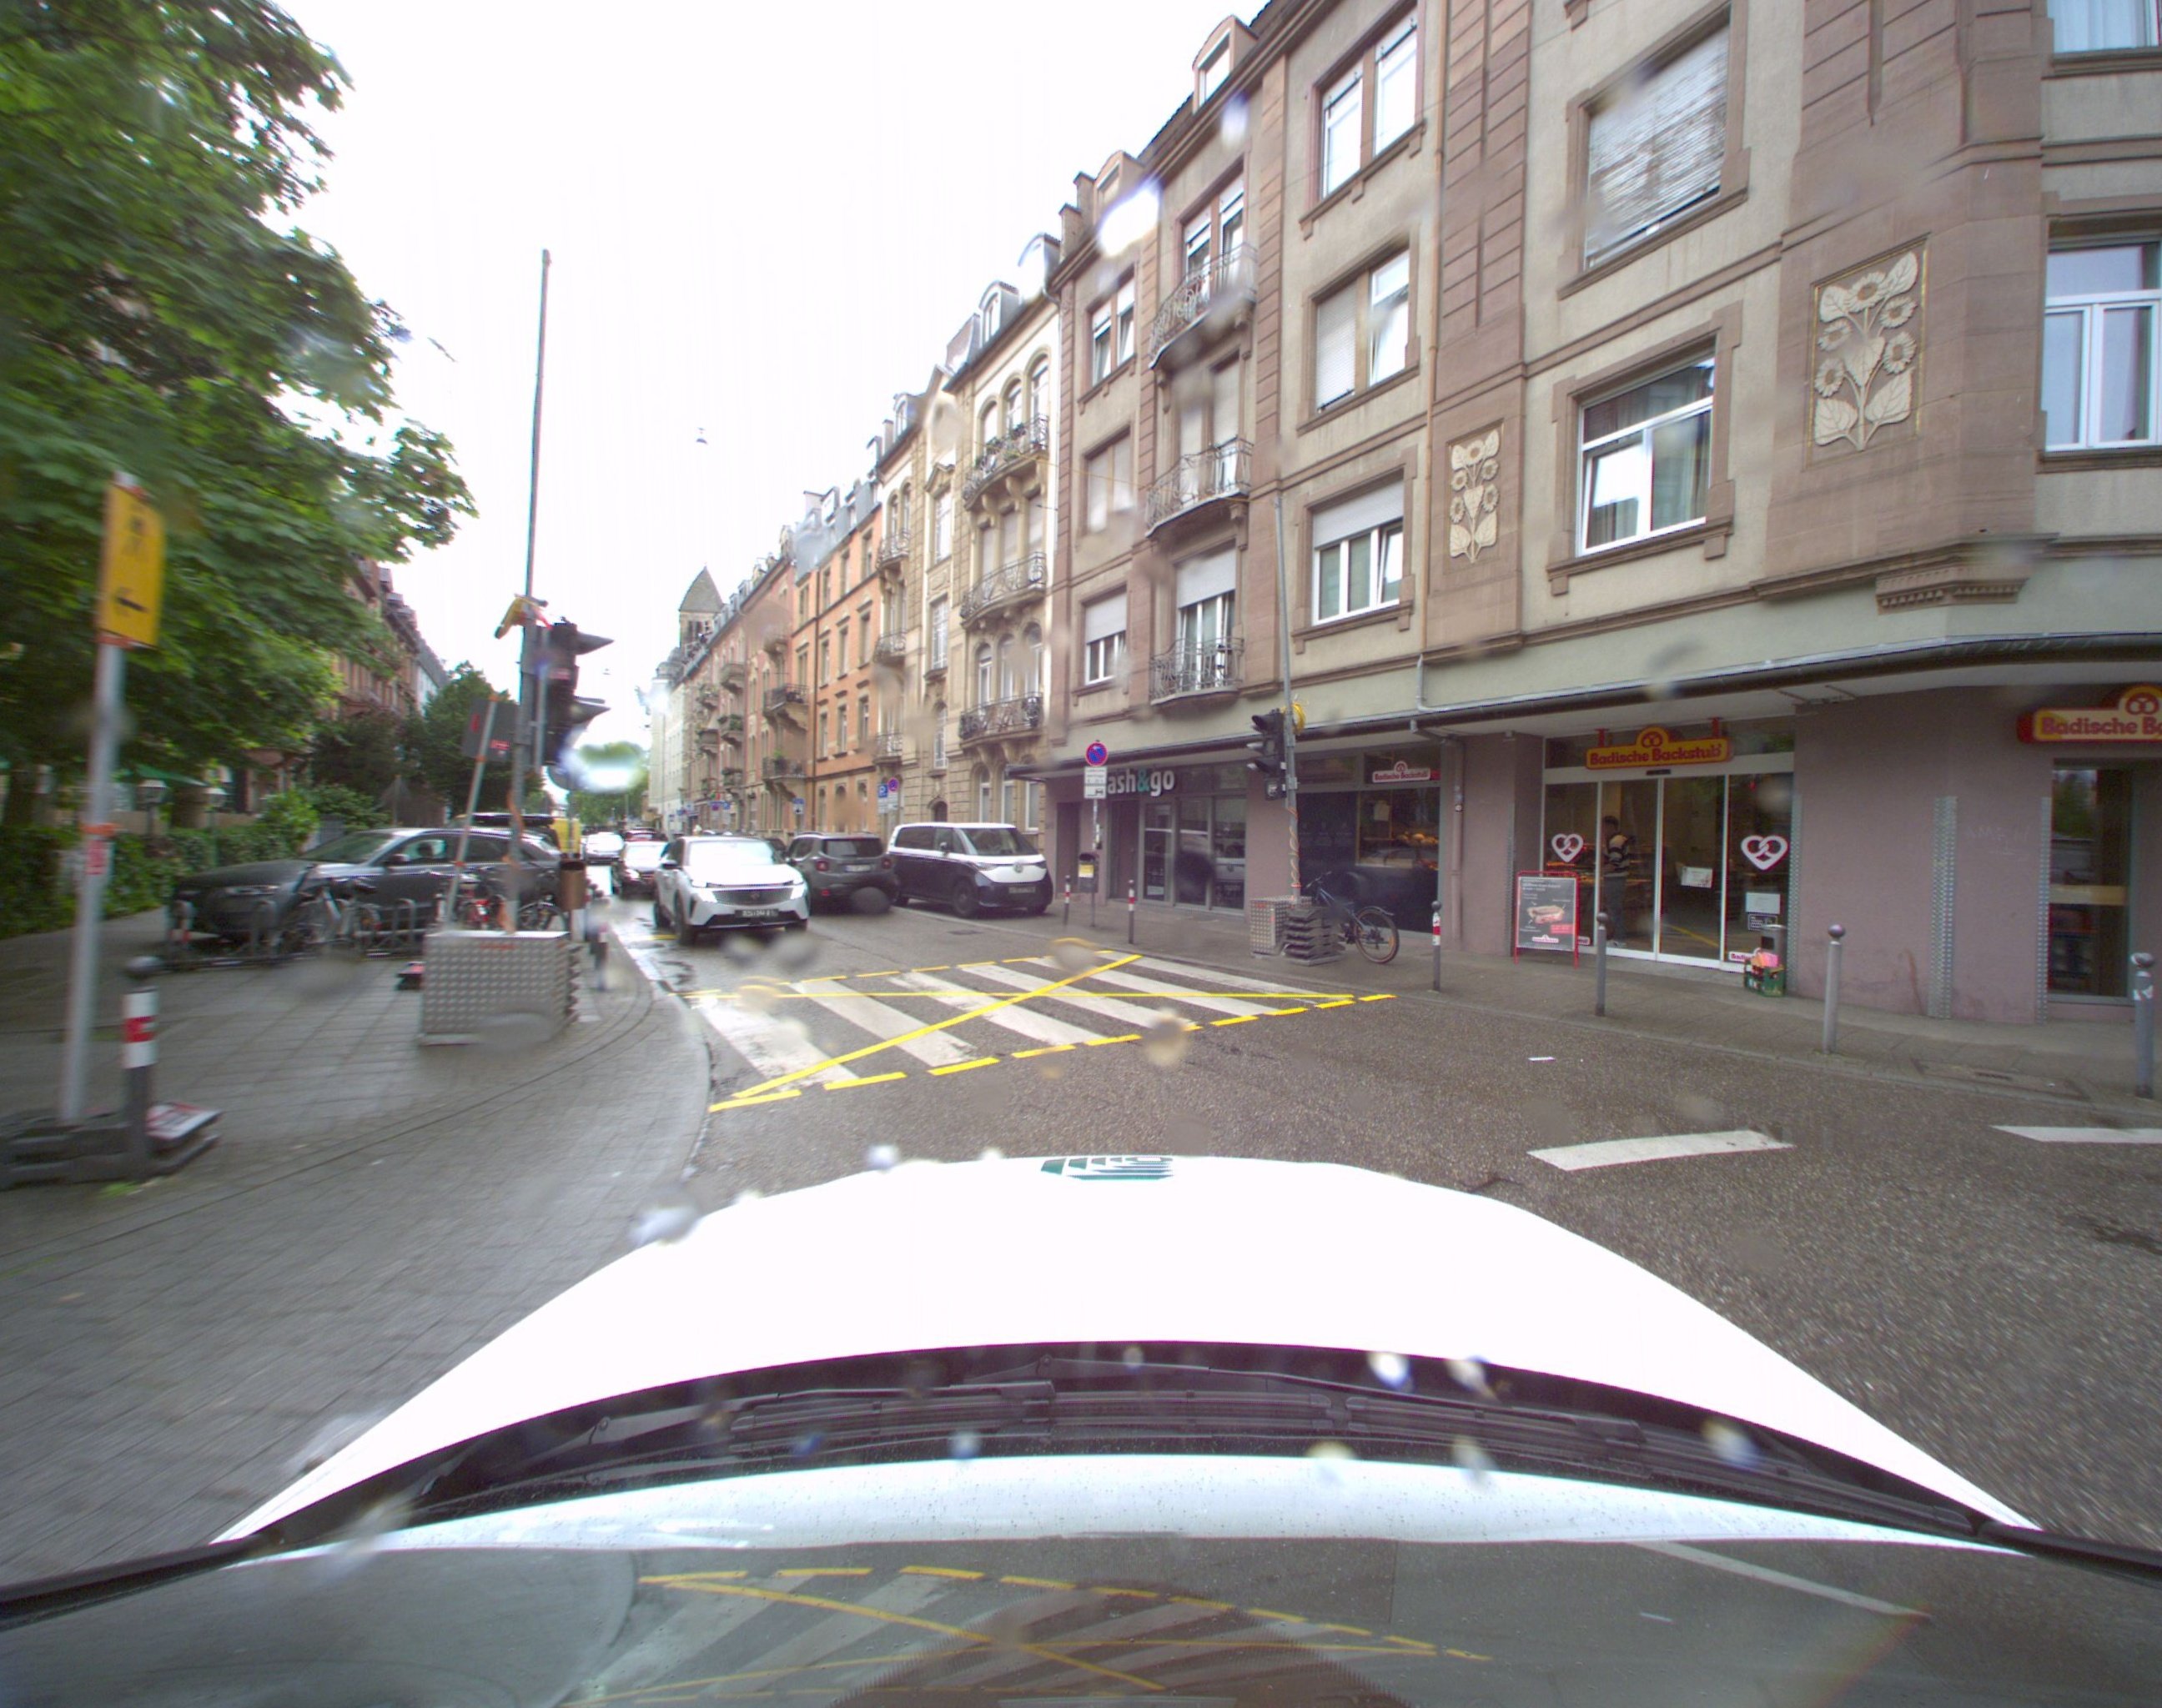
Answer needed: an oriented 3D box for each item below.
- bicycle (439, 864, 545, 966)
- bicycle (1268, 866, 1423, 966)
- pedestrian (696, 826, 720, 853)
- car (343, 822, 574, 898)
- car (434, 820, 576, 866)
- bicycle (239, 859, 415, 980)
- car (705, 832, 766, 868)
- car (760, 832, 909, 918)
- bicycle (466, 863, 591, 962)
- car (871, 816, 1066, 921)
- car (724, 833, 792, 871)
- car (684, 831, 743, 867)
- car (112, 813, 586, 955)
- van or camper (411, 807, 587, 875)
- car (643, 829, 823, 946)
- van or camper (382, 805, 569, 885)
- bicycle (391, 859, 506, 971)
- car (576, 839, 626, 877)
[{"bbox_3d":[-7.255,0.710,10.009,1.661,1.143,0.402,1,0,31],"label":"bicycle"},{"bbox_3d":[3.448,0.763,10.778,0.628,1.128,1.917,0,1,-37],"label":"bicycle"},{"bbox_3d":[-25.295,-0.989,55.226,0.676,0.811,1.932,0,39,2],"label":"pedestrian"},{"bbox_3d":[-15.230,0.199,20.227,1.780,1.662,4.158,2,-2,20],"label":"car"},{"bbox_3d":[-27.831,-0.517,39.553,1.846,2.078,5.286,1,0,32],"label":"car"},{"bbox_3d":[-8.115,0.645,8.748,1.907,1.143,0.781,1,0,28],"label":"bicycle"},{"bbox_3d":[-16.249,-0.217,38.200,1.885,1.561,4.301,-1,2,-33],"label":"car"},{"bbox_3d":[-5.615,0.345,18.147,1.913,1.670,4.458,-1,1,-35],"label":"car"},{"bbox_3d":[-7.109,0.713,10.458,1.661,1.143,0.591,1,0,28],"label":"bicycle"},{"bbox_3d":[-2.634,0.201,17.813,2.009,1.938,5.173,-2,2,-36],"label":"car"},{"bbox_3d":[-13.470,-0.053,33.837,1.799,1.466,4.437,0,-1,-33],"label":"car"},{"bbox_3d":[-19.366,-0.315,42.822,2.008,1.779,4.775,-1,1,-35],"label":"car"},{"bbox_3d":[-9.737,0.374,11.412,1.977,1.563,4.480,0,-1,20],"label":"car"},{"bbox_3d":[-21.429,-0.418,30.241,2.158,2.268,4.753,3,0,24],"label":"van or camper"},{"bbox_3d":[-6.167,0.475,14.049,1.872,1.660,4.954,0,0,-35],"label":"car"},{"bbox_3d":[-18.453,-0.189,25.068,1.913,2.240,4.107,0,-2,24],"label":"van or camper"},{"bbox_3d":[-7.508,0.680,9.641,1.853,1.185,0.402,1,0,31],"label":"bicycle"},{"bbox_3d":[-24.078,0.164,40.779,1.808,1.493,4.536,5,1,-34],"label":"car"}]
